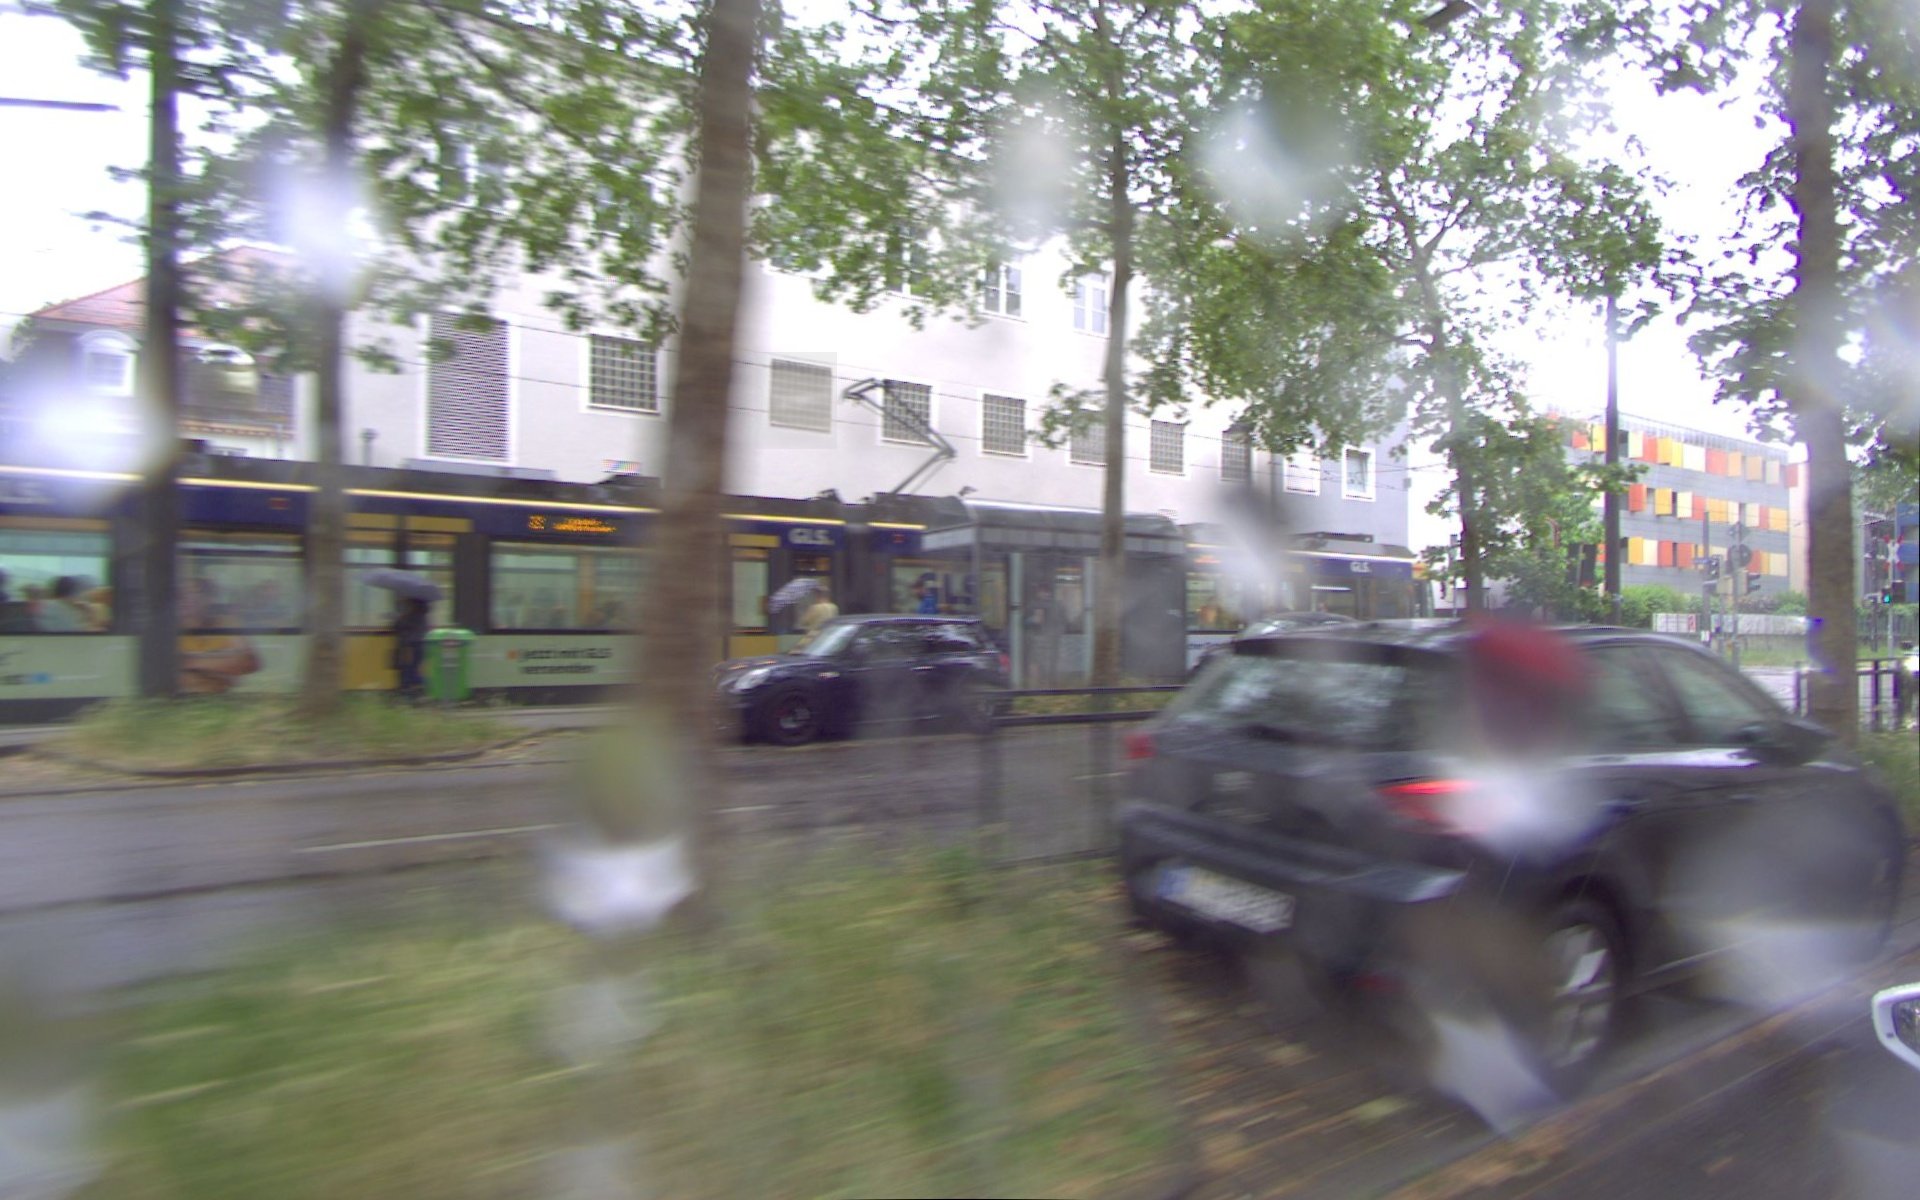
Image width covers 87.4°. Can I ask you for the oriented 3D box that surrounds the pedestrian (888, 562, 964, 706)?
[{"bbox_3d":[-0.503,0.496,14.780,0.810,2.040,0.866,1,-1,-28],"label":"pedestrian"}]

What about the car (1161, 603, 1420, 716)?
[{"bbox_3d":[5.407,0.904,16.352,3.956,1.634,1.982,1,-1,-32],"label":"car"}]

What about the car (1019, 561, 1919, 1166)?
[{"bbox_3d":[2.397,0.703,4.306,4.073,1.520,1.640,2,0,-32],"label":"car"}]

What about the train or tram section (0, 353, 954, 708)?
[{"bbox_3d":[-7.006,-0.477,13.851,14.422,3.604,3.088,3,-3,-33],"label":"train or tram section"}]

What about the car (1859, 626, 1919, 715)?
[{"bbox_3d":[19.513,1.351,19.582,3.956,1.634,1.986,1,-1,-32],"label":"car"}]

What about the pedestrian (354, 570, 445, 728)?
[{"bbox_3d":[-6.461,0.544,11.567,0.862,1.726,0.813,1,-1,-32],"label":"pedestrian"}]

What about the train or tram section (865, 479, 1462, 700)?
[{"bbox_3d":[5.171,0.199,21.610,14.516,3.604,3.089,3,-3,-33],"label":"train or tram section"}]

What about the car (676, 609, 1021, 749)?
[{"bbox_3d":[-1.293,0.851,12.029,3.714,1.361,1.729,1,1,-33],"label":"car"}]

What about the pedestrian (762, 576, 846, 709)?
[{"bbox_3d":[-2.111,0.561,13.562,0.862,1.726,0.813,1,-1,-32],"label":"pedestrian"}]
